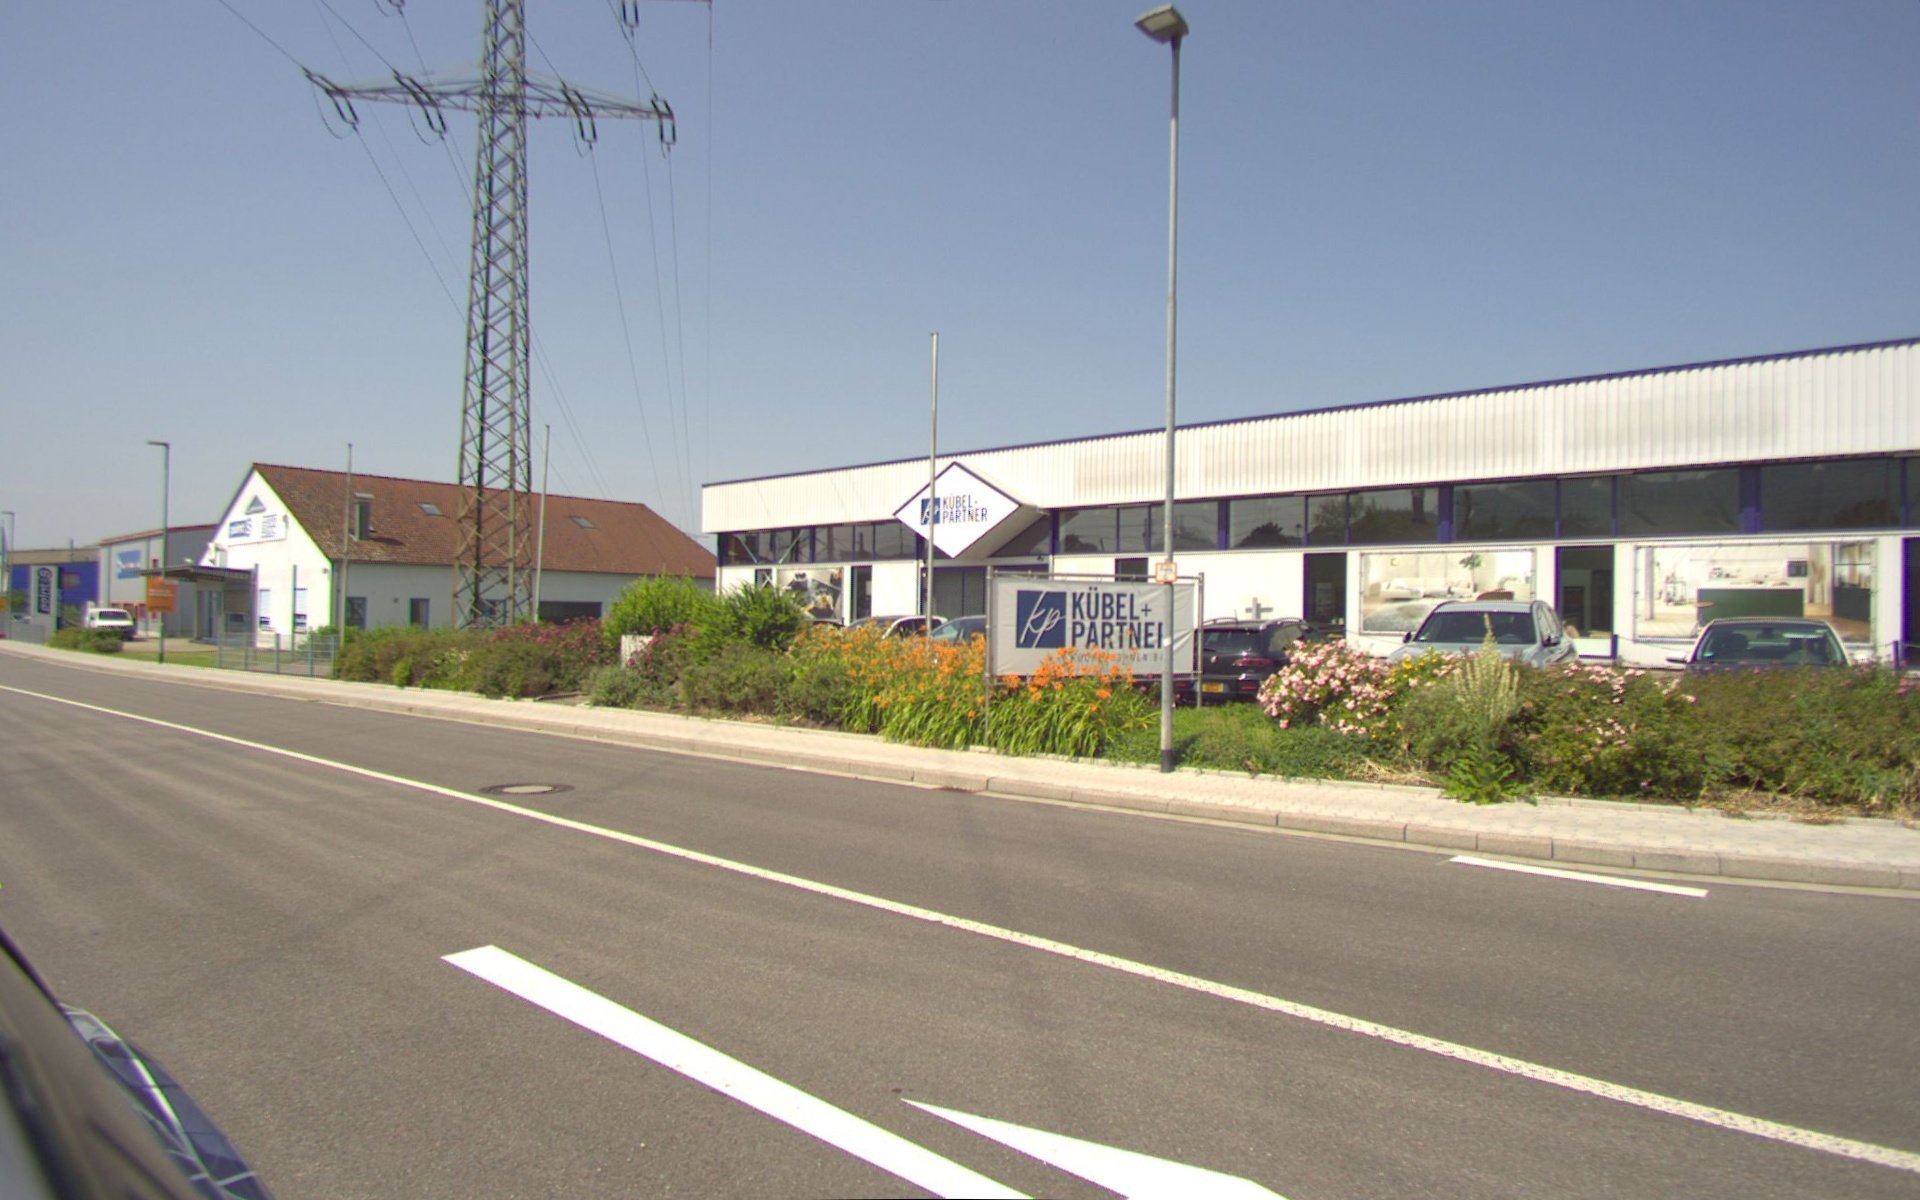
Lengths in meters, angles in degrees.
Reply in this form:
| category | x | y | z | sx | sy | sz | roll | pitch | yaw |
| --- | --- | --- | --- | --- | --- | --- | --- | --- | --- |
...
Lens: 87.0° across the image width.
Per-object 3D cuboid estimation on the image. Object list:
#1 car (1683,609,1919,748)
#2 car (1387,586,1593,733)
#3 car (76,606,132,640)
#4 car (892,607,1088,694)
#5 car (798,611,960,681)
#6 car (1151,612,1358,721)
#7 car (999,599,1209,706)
| category | x | y | z | sx | sy | sz | roll | pitch | yaw |
| --- | --- | --- | --- | --- | --- | --- | --- | --- | --- |
| car | 9.676 | 0.839 | 11.892 | 1.831 | 1.325 | 4.184 | -1 | -3 | 37 |
| car | 7.273 | 0.761 | 13.684 | 1.831 | 1.660 | 4.184 | -1 | -3 | 37 |
| car | -53.348 | 1.420 | 63.059 | 4.679 | 2.029 | 1.972 | 0 | -2 | 42 |
| car | 0.702 | 0.980 | 20.122 | 1.997 | 1.540 | 3.950 | -1 | -3 | 37 |
| car | -1.665 | 0.932 | 21.726 | 1.503 | 1.263 | 3.475 | -1 | 1 | 39 |
| car | 4.613 | 0.950 | 15.471 | 1.994 | 1.425 | 3.955 | -1 | -2 | 33 |
| car | 2.620 | 0.879 | 17.535 | 1.831 | 1.608 | 4.184 | -1 | -3 | 37 |
